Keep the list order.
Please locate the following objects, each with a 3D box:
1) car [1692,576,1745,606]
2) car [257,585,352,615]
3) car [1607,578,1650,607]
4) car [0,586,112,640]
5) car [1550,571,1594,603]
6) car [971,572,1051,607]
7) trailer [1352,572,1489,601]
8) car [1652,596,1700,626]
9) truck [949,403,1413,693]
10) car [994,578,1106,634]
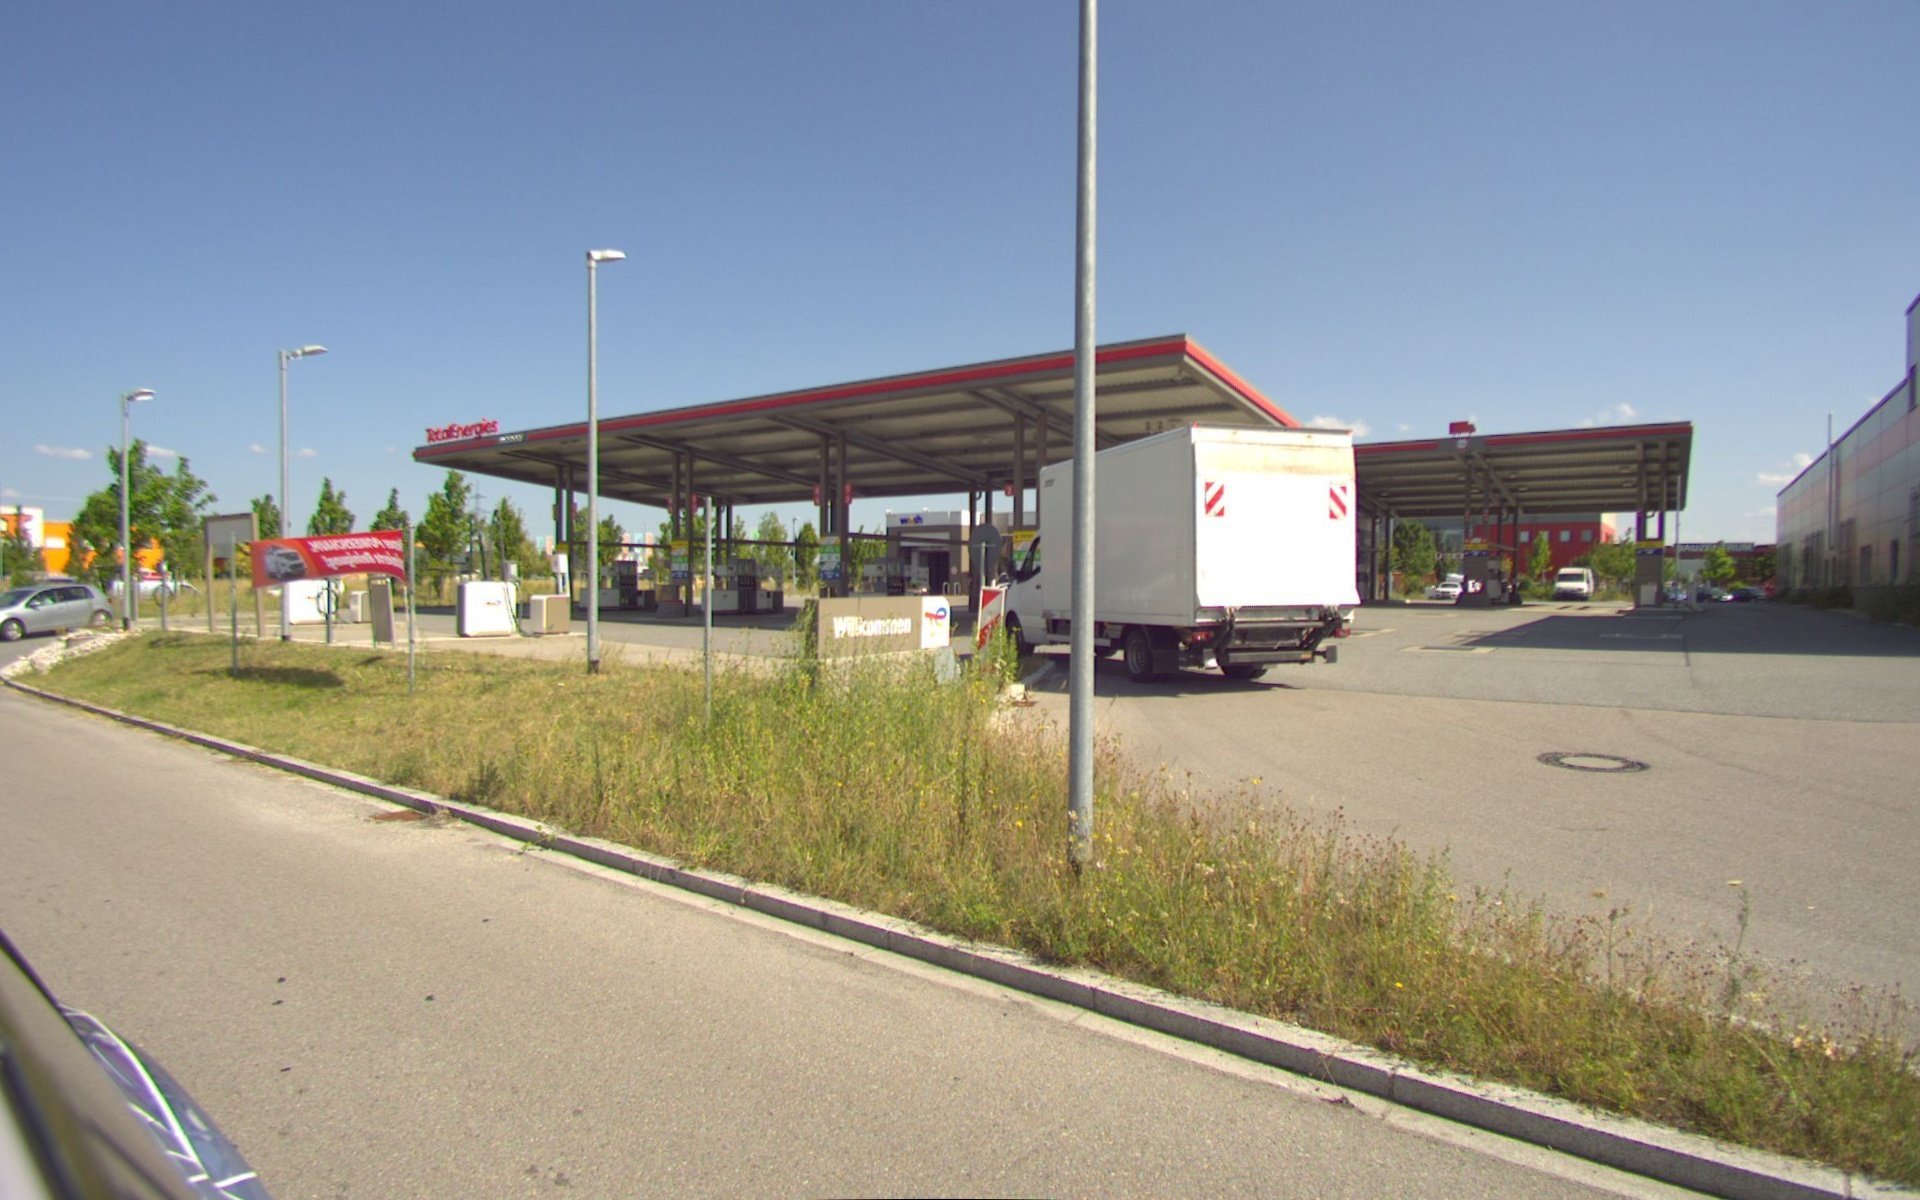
[{"bbox_3d":[58.577,-0.732,78.259,2.377,2.204,5.429,-1,0,28],"label":"car"},{"bbox_3d":[-45.488,-0.034,70.391,1.994,2.029,5.197,-1,0,33],"label":"car"},{"bbox_3d":[53.780,-0.639,81.534,2.377,2.204,5.429,-1,0,28],"label":"car"},{"bbox_3d":[-26.907,0.393,28.913,1.728,1.479,3.949,0,-2,9],"label":"car"},{"bbox_3d":[44.088,-0.960,73.010,2.377,2.204,5.429,-1,0,28],"label":"car"},{"bbox_3d":[2.405,-0.493,46.889,1.697,1.586,3.632,-1,0,45],"label":"car"},{"bbox_3d":[48.612,-1.361,107.293,13.110,2.780,2.367,-1,0,26],"label":"trailer"},{"bbox_3d":[56.506,0.866,79.997,2.377,2.204,5.429,-1,0,28],"label":"car"},{"bbox_3d":[2.841,-0.612,15.254,2.598,3.343,6.924,-1,0,-34],"label":"truck"},{"bbox_3d":[2.799,0.135,30.790,1.694,1.586,3.890,-1,0,35],"label":"car"}]
